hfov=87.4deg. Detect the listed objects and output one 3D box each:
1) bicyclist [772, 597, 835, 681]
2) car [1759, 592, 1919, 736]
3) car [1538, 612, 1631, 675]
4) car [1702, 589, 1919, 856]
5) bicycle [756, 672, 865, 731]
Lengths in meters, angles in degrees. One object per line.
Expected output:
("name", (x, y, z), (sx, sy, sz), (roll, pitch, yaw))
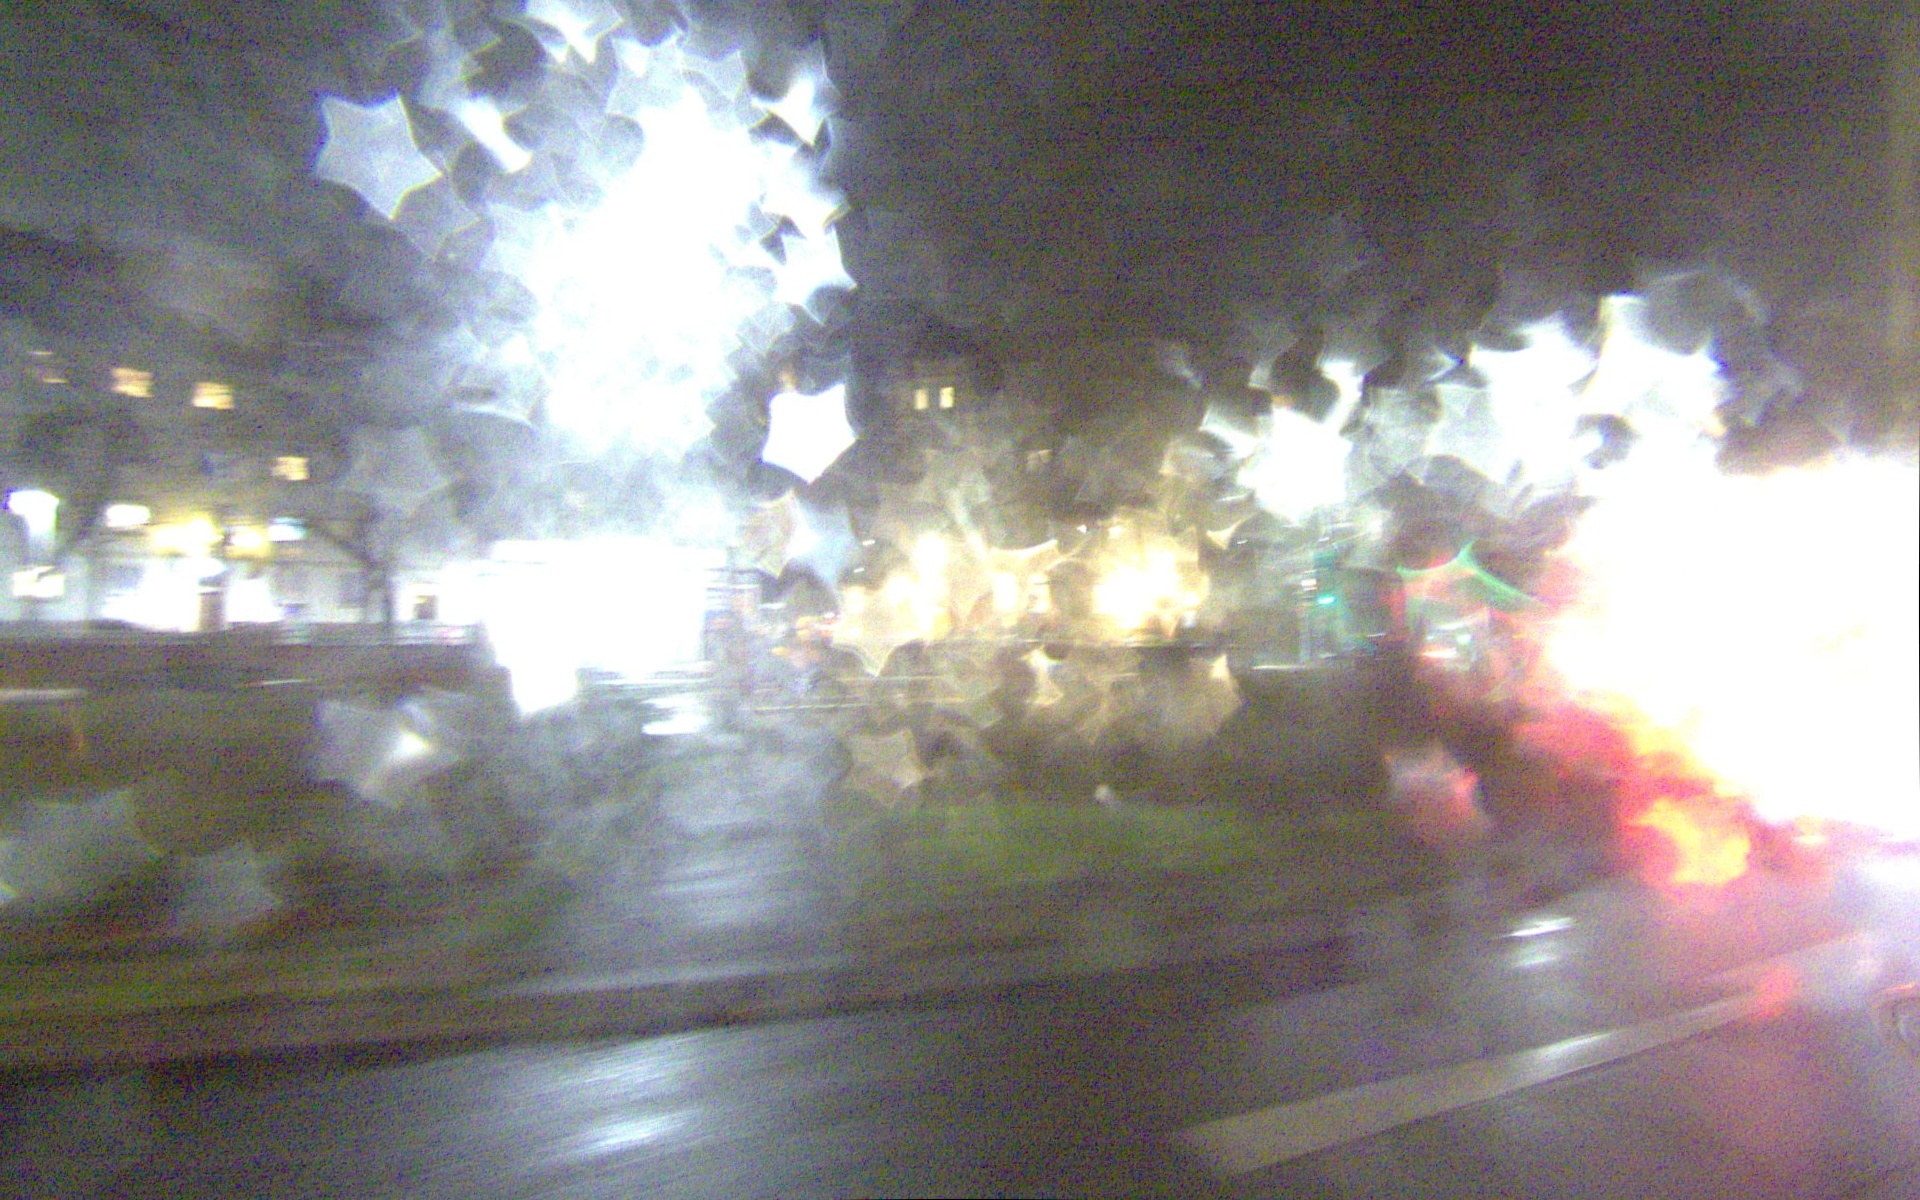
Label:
("bicyclist", (-2.703, 0.680, 17.368), (0.884, 1.398, 0.501), (4, -2, -30))
("car", (12.734, 0.905, 14.307), (1.968, 1.750, 3.986), (2, -2, 37))
("car", (19.415, 1.379, 31.392), (1.962, 1.750, 3.998), (2, -2, 25))
("car", (7.147, 0.853, 7.391), (3.428, 1.634, 1.719), (4, -2, -35))
("bicycle", (-2.583, 1.768, 17.434), (1.764, 0.944, 0.495), (4, -2, -30))
